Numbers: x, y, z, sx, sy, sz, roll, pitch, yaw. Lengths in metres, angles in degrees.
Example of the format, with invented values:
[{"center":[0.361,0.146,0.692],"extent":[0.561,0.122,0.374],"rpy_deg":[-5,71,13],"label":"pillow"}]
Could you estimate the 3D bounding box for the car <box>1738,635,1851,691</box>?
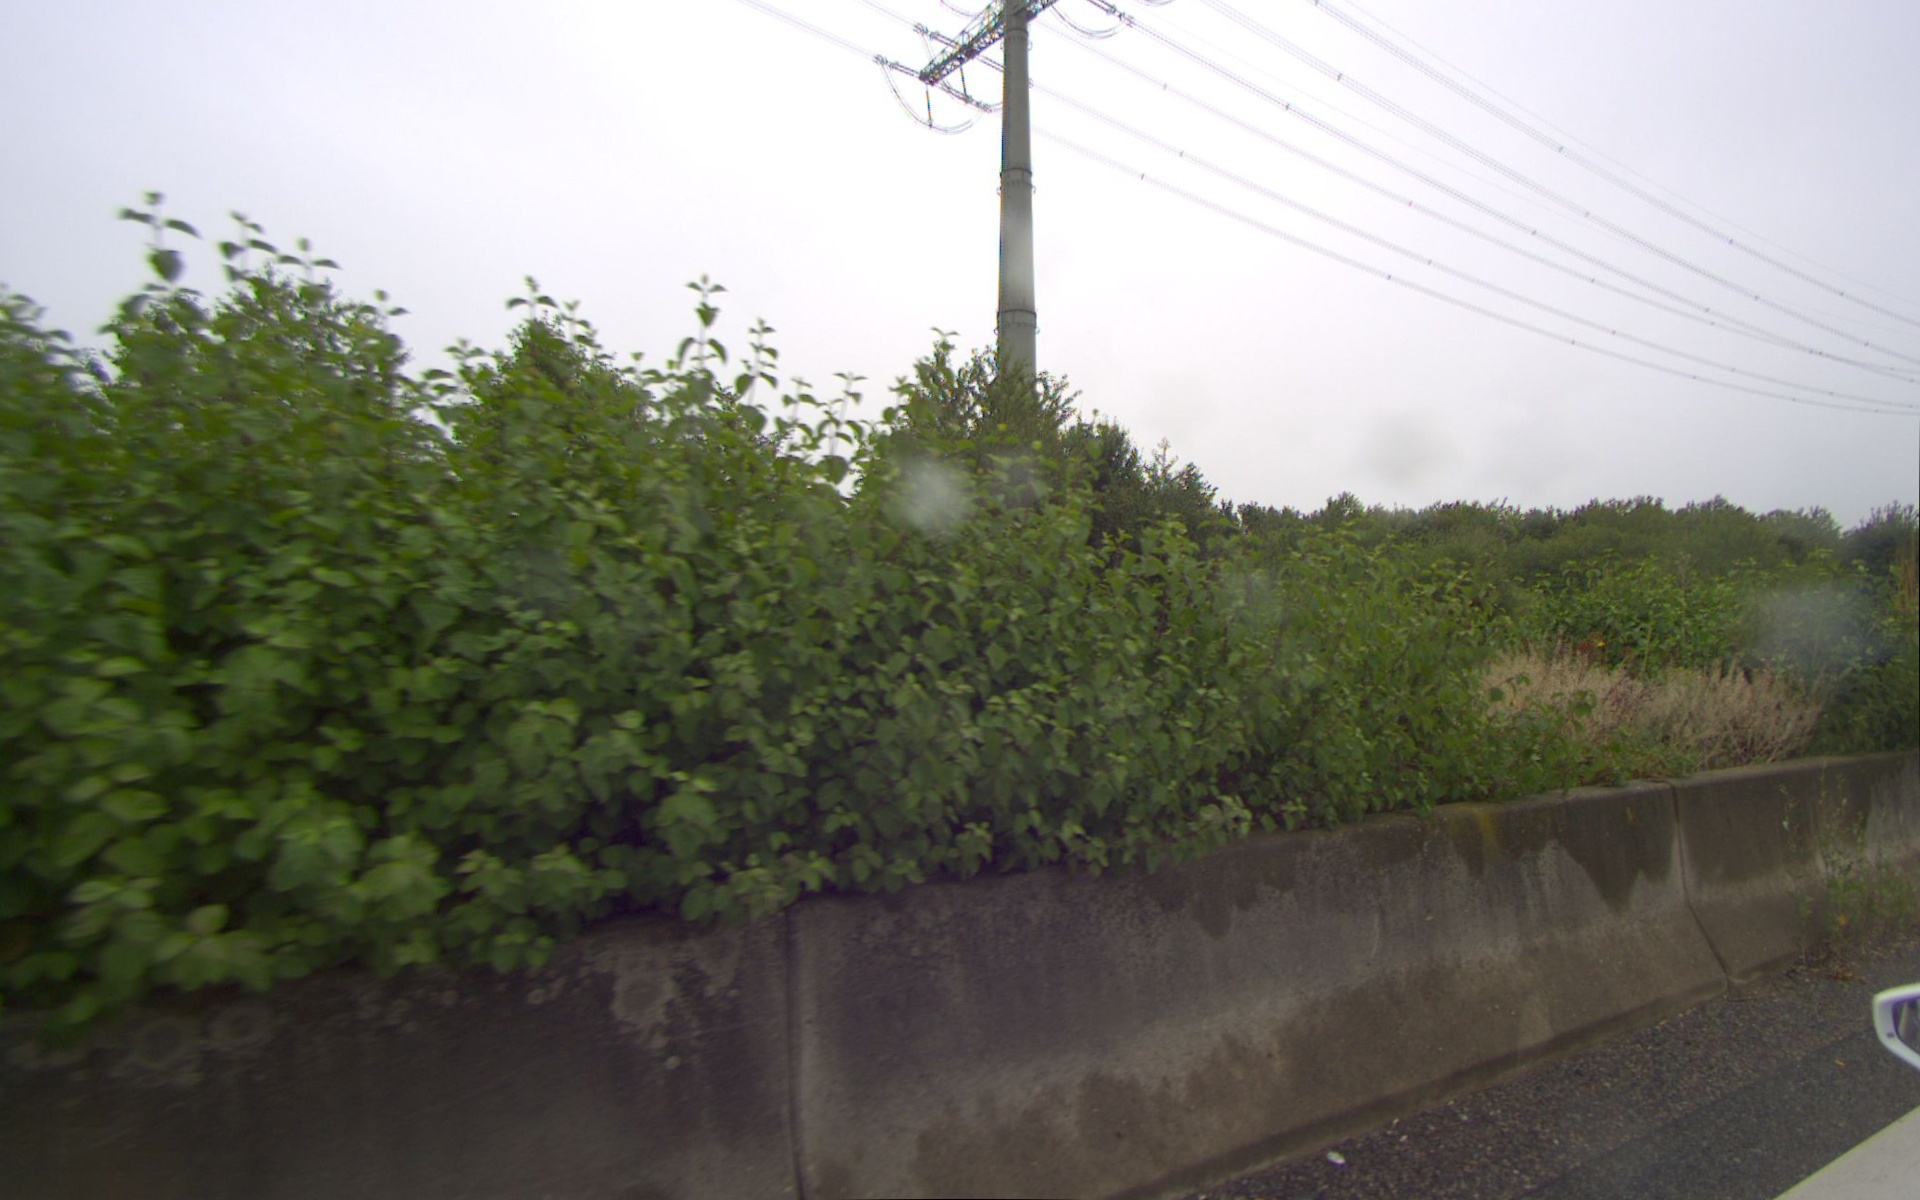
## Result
[{"center":[28.969,2.167,34.853],"extent":[4.219,1.848,1.693],"rpy_deg":[2,-3,-31],"label":"car"}]
